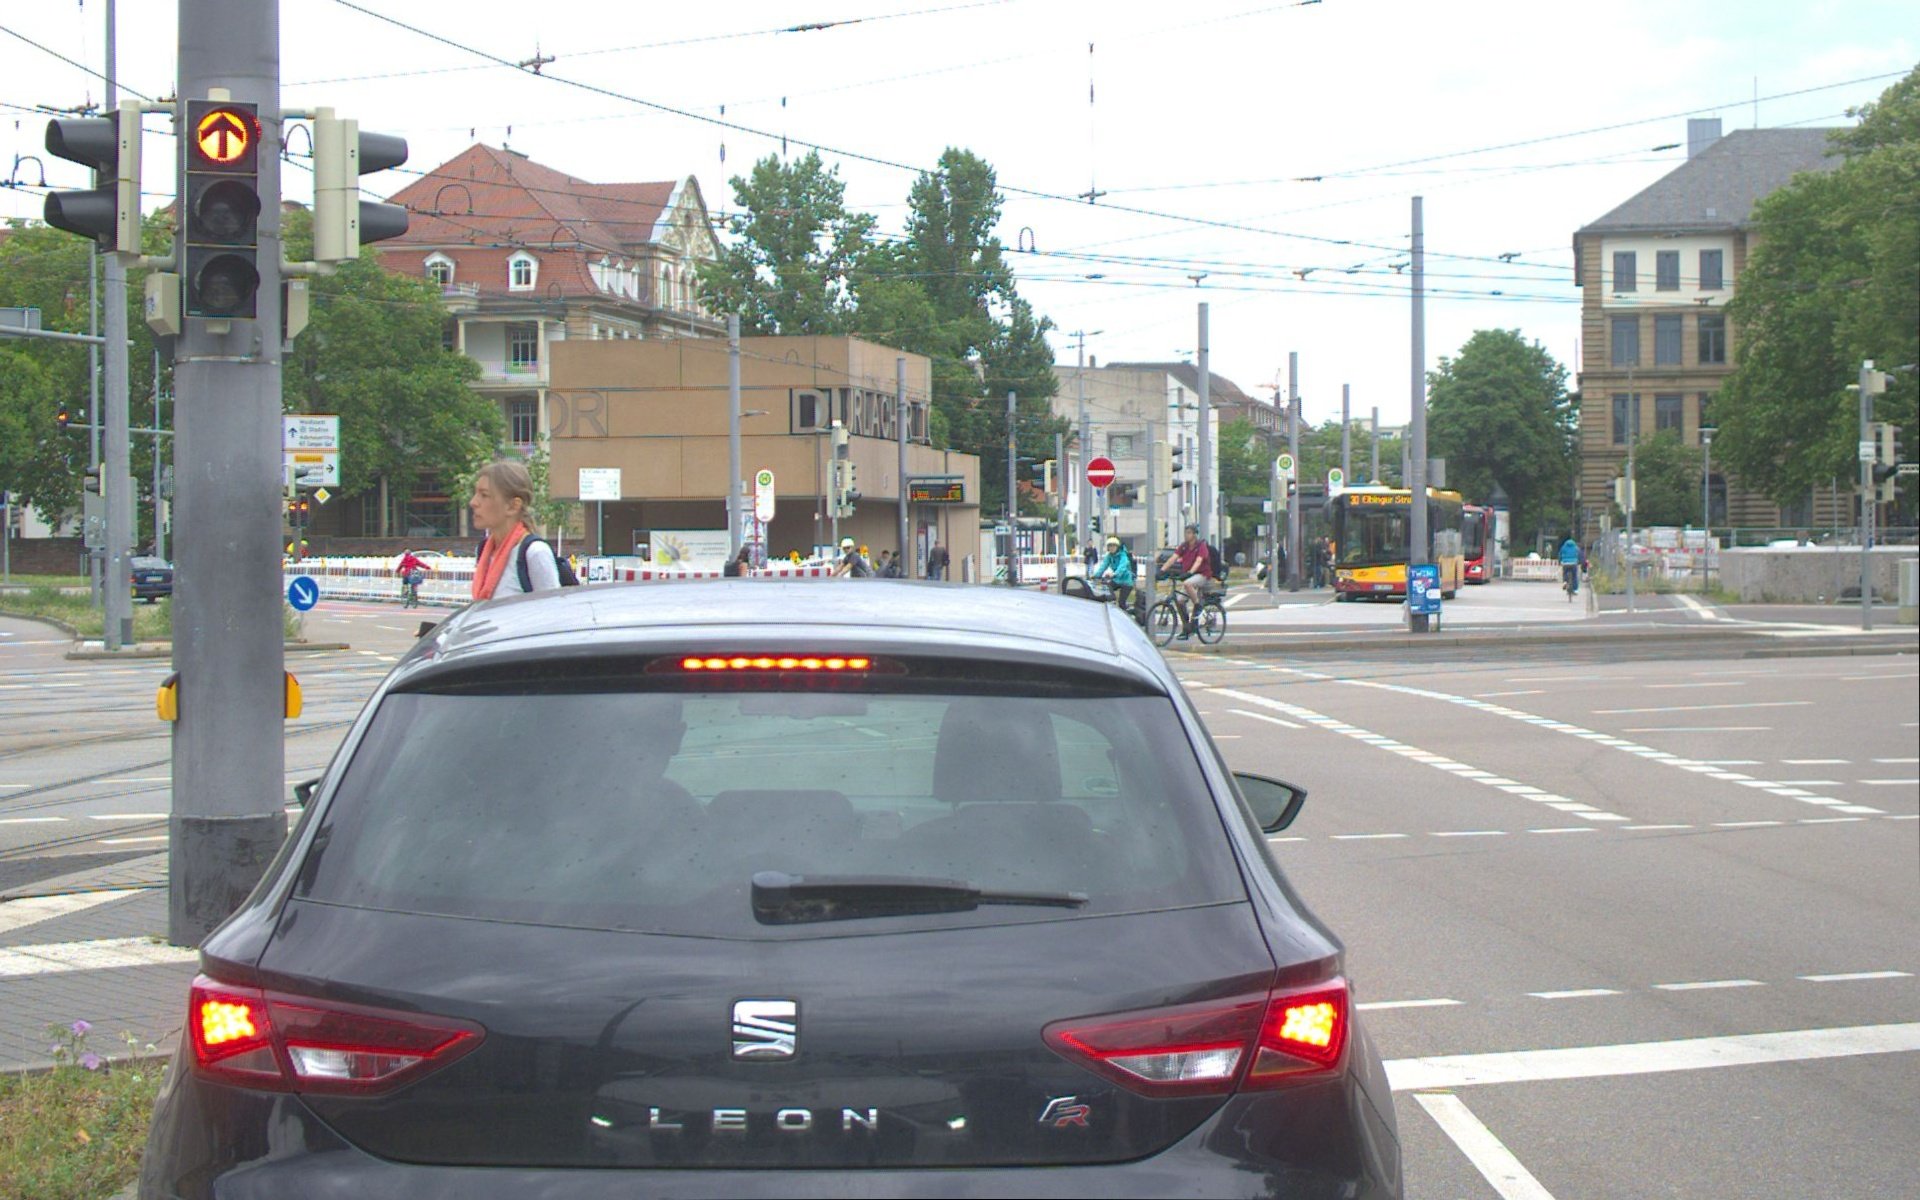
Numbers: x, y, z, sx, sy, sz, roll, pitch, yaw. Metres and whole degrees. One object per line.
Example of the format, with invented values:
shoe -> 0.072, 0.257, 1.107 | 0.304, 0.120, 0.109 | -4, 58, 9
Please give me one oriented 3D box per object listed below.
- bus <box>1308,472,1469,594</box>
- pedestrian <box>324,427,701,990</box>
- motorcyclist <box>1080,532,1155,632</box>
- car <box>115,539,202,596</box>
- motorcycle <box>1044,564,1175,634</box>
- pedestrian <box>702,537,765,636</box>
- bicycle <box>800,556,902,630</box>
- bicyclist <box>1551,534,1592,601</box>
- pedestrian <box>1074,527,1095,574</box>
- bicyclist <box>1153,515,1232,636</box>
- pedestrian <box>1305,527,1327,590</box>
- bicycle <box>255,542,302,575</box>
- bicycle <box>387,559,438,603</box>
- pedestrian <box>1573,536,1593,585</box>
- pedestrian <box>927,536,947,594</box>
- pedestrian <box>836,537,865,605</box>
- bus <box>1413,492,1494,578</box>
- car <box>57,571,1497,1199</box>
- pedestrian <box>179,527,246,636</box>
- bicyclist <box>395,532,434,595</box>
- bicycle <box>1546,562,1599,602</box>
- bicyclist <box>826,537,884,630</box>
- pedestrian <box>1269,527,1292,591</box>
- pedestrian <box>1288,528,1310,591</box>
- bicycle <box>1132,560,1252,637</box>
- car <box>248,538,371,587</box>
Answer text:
bus -> 11.771, -1.805, 93.439 | 2.962, 3.112, 11.531 | 0, 1, 14
pedestrian -> -1.590, 0.361, 12.257 | 1.101, 1.900, 0.735 | 0, 0, -43
motorcyclist -> 2.628, -0.304, 57.222 | 0.977, 1.644, 0.750 | -1, 0, -33
car -> -24.433, -0.976, 104.754 | 1.993, 1.678, 4.001 | 0, 0, -22
motorcycle -> 2.490, -0.027, 57.120 | 2.135, 1.135, 0.744 | -1, 1, -33
pedestrian -> -4.438, -0.268, 67.450 | 0.700, 1.927, 1.028 | 0, 1, 38
bicycle -> -1.973, -0.126, 62.336 | 1.730, 1.317, 0.645 | -1, 1, -22
bicyclist -> 16.995, -0.918, 95.529 | 0.871, 1.845, 1.048 | 0, 1, -6
pedestrian -> 5.054, -2.004, 139.507 | 0.622, 1.911, 0.709 | -1, 0, 25
bicyclist -> 3.672, -0.388, 54.288 | 0.777, 1.891, 0.994 | 0, 1, 44
pedestrian -> 10.817, -1.254, 104.460 | 0.621, 1.911, 0.698 | 0, 1, 9
bicycle -> -25.822, -1.552, 130.305 | 0.434, 1.232, 1.823 | -1, 0, 43
bicycle -> -15.130, -0.537, 94.973 | 0.891, 1.174, 2.302 | 0, 1, -22
pedestrian -> 25.225, -1.603, 139.145 | 0.662, 2.007, 0.692 | 0, 1, 0
pedestrian -> -0.760, -1.152, 112.637 | 0.621, 1.911, 0.710 | 0, 1, 3
pedestrian -> -3.066, -0.813, 96.565 | 0.708, 1.911, 0.623 | 0, 1, 7
bus -> 19.683, -2.566, 136.648 | 2.655, 3.272, 10.990 | 0, 1, 11
car -> -0.352, 0.691, 5.983 | 1.704, 1.444, 3.813 | 0, 1, -4
pedestrian -> -13.404, -0.342, 61.623 | 1.027, 1.927, 0.701 | -1, 1, -25
bicyclist -> -15.035, -1.004, 94.698 | 0.882, 1.726, 0.894 | 0, 1, -22
bicycle -> 17.004, -0.505, 95.485 | 0.865, 1.101, 2.302 | 0, 1, -5
bicyclist -> -1.907, -0.309, 62.366 | 0.854, 1.667, 0.654 | -1, 1, -22
pedestrian -> 9.705, -1.240, 104.089 | 0.621, 1.911, 0.698 | 0, 1, 9
pedestrian -> 10.405, -1.247, 105.441 | 0.621, 1.911, 0.710 | 0, 1, 3
bicycle -> 3.671, -0.034, 54.280 | 0.777, 1.180, 2.027 | 1, 1, 44
car -> -23.275, -1.330, 123.023 | 3.987, 1.678, 2.000 | -1, 0, 1
